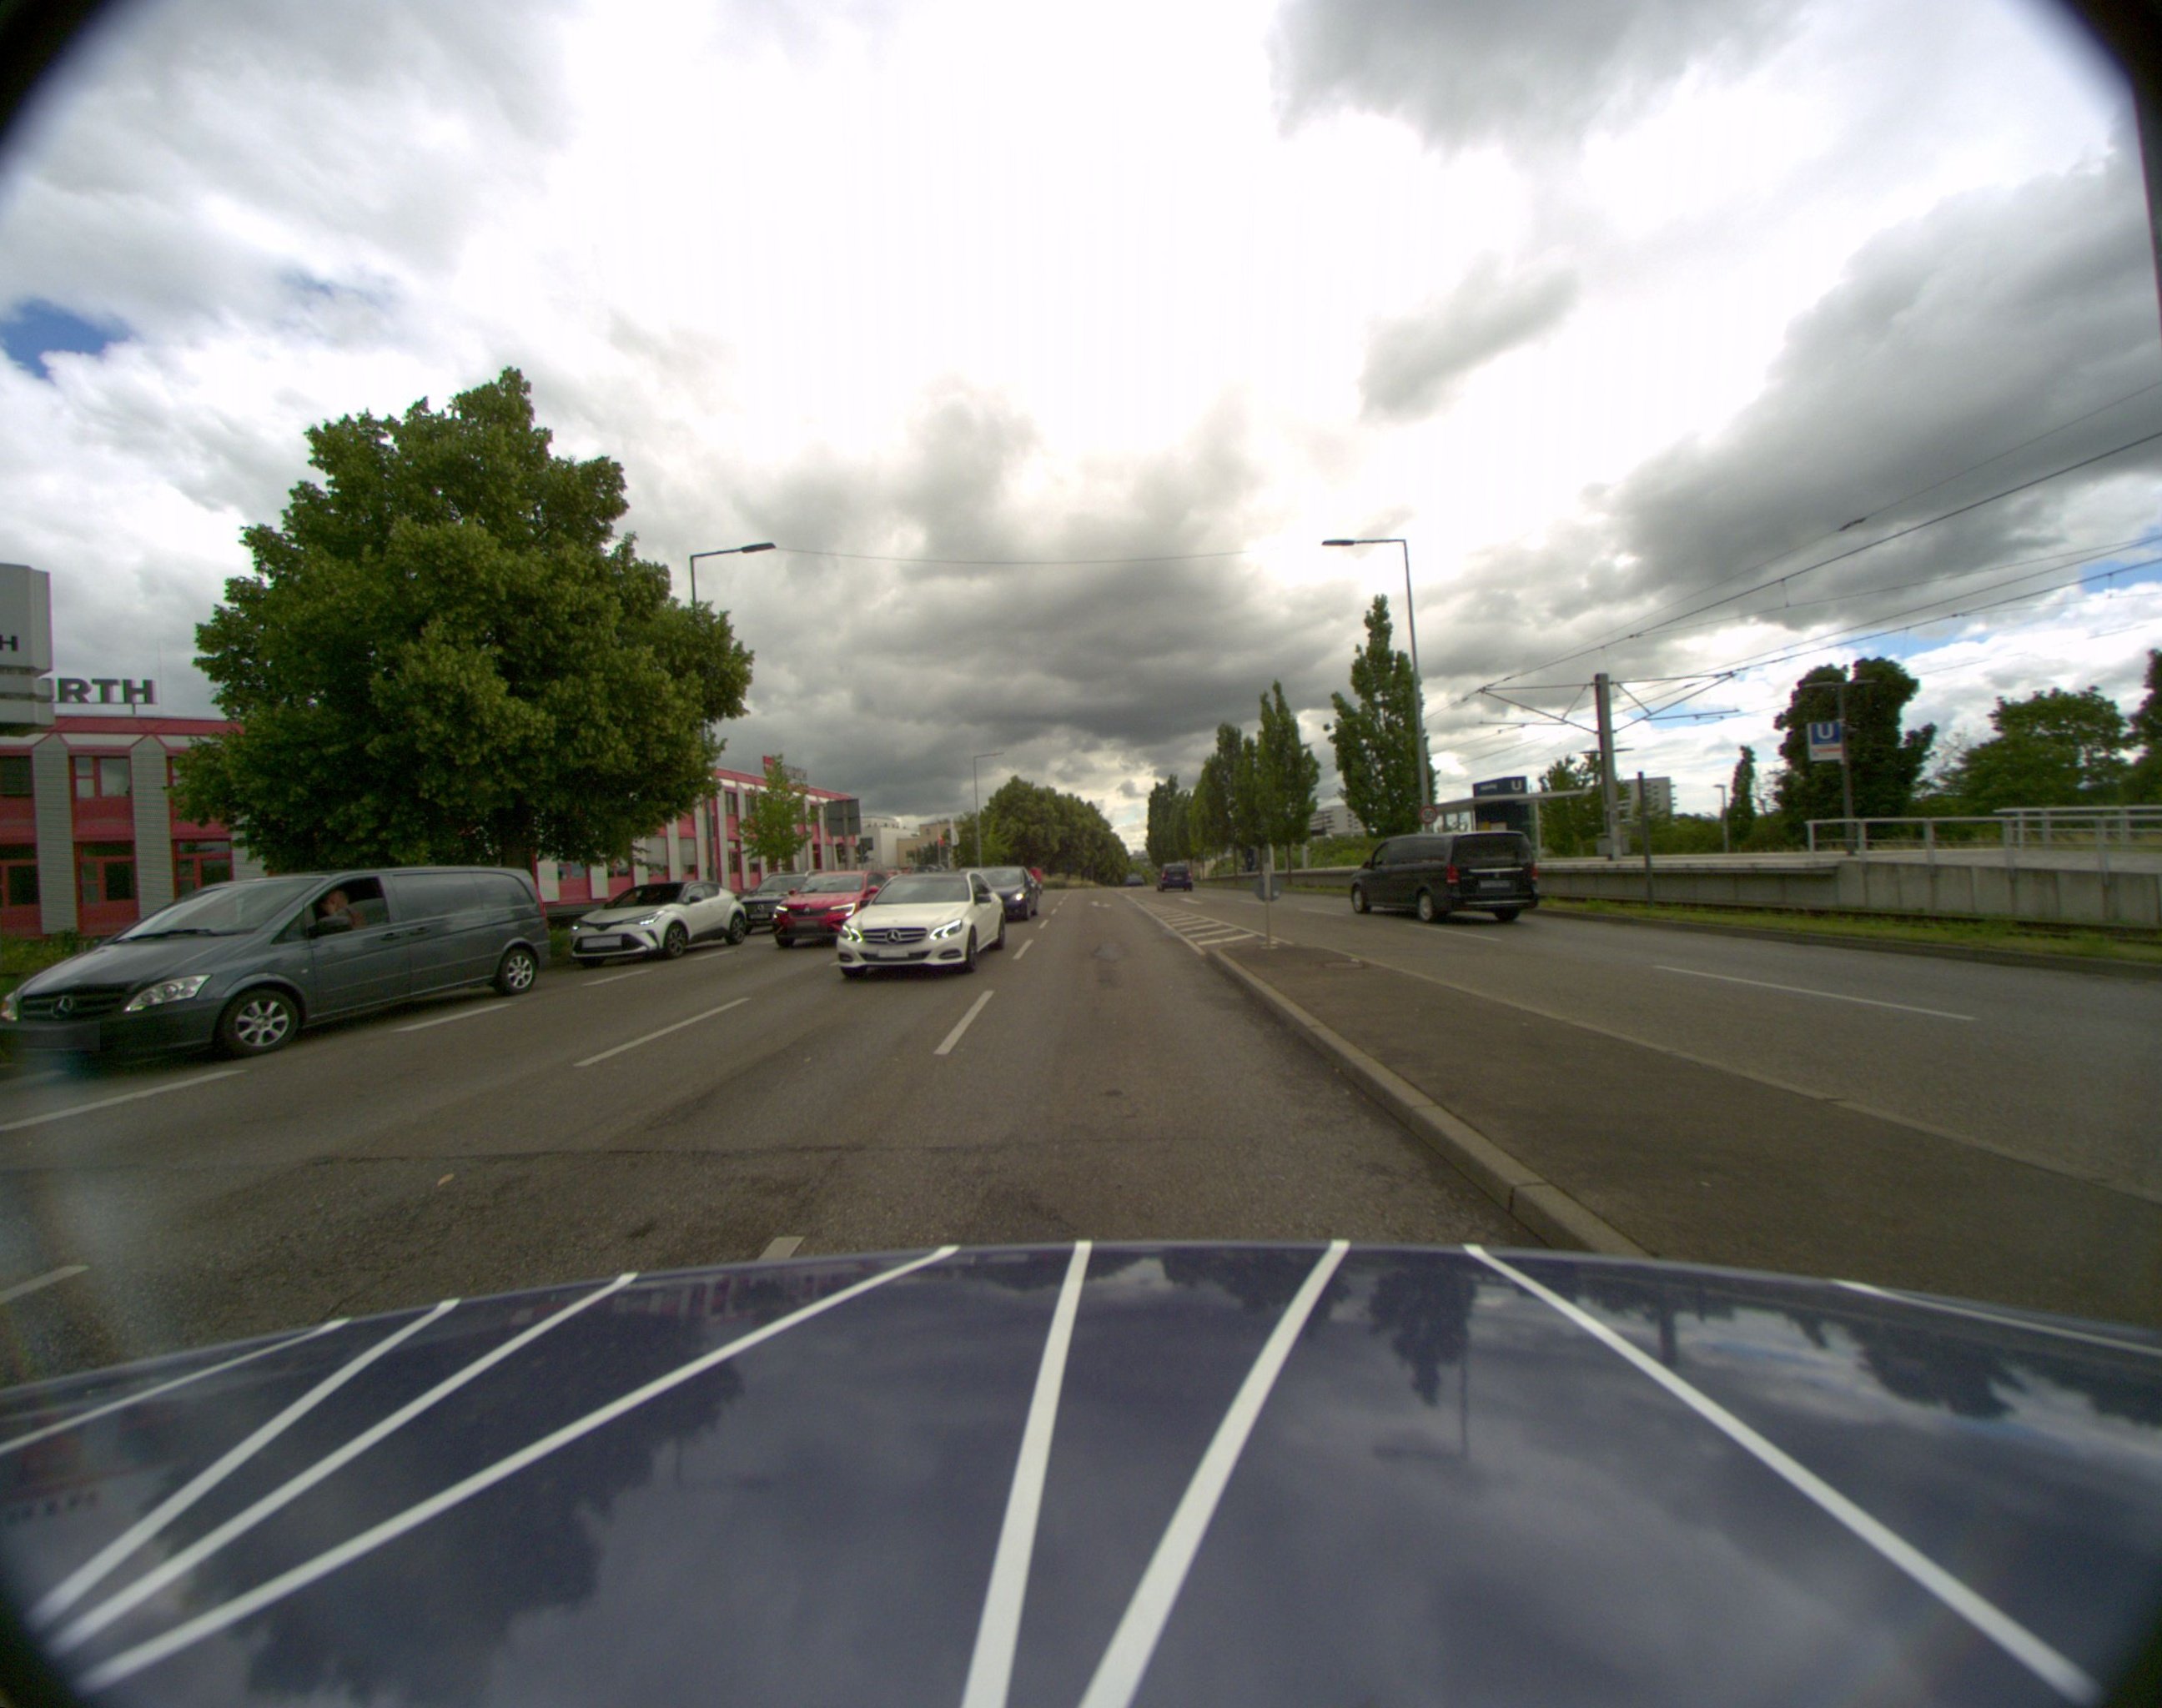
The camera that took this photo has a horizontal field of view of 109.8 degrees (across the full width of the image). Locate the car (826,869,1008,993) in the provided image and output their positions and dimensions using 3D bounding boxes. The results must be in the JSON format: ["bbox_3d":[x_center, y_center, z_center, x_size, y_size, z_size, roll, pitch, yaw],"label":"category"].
[{"bbox_3d":[-2.349,1.055,12.091,1.804,1.403,4.317,-2,1,1],"label":"car"}]

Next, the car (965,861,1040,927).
[{"bbox_3d":[-2.191,1.086,22.158,1.669,1.589,3.996,-2,1,0],"label":"car"}]

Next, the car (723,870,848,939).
[{"bbox_3d":[-8.444,1.381,22.160,1.865,1.648,4.209,-4,-1,1],"label":"car"}]

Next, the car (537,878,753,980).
[{"bbox_3d":[-8.593,1.390,15.487,1.844,1.507,4.106,-6,0,1],"label":"car"}]

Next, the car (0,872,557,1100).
[{"bbox_3d":[-8.742,1.208,8.842,1.763,1.764,4.676,-6,-1,2],"label":"car"}]

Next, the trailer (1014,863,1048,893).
[{"bbox_3d":[-3.149,1.504,48.645,1.775,1.650,3.996,-2,1,1],"label":"trailer"}]

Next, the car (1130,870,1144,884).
[{"bbox_3d":[8.832,3.614,120.595,1.920,1.953,5.373,-2,1,1],"label":"car"}]

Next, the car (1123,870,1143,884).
[{"bbox_3d":[6.440,2.869,95.083,1.876,1.416,4.430,-2,1,-4],"label":"car"}]

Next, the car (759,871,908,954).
[{"bbox_3d":[-5.368,1.207,17.133,1.851,1.521,4.377,-2,-1,0],"label":"car"}]

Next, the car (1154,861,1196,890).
[{"bbox_3d":[5.295,1.168,43.106,1.740,1.499,3.659,-2,0,-2],"label":"car"}]

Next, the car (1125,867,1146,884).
[{"bbox_3d":[5.585,2.175,78.537,1.761,1.519,3.599,-2,1,-3],"label":"car"}]

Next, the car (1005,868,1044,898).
[{"bbox_3d":[-3.255,1.646,44.479,1.775,1.442,4.401,-2,1,1],"label":"car"}]

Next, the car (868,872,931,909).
[{"bbox_3d":[-8.319,1.622,35.137,1.763,1.431,4.370,-3,0,0],"label":"car"}]

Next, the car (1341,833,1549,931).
[{"bbox_3d":[7.780,0.552,16.945,1.893,1.802,5.091,-2,-1,-4],"label":"car"}]

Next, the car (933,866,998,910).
[{"bbox_3d":[-4.722,1.341,31.603,1.797,1.521,4.219,-2,1,3],"label":"car"}]
